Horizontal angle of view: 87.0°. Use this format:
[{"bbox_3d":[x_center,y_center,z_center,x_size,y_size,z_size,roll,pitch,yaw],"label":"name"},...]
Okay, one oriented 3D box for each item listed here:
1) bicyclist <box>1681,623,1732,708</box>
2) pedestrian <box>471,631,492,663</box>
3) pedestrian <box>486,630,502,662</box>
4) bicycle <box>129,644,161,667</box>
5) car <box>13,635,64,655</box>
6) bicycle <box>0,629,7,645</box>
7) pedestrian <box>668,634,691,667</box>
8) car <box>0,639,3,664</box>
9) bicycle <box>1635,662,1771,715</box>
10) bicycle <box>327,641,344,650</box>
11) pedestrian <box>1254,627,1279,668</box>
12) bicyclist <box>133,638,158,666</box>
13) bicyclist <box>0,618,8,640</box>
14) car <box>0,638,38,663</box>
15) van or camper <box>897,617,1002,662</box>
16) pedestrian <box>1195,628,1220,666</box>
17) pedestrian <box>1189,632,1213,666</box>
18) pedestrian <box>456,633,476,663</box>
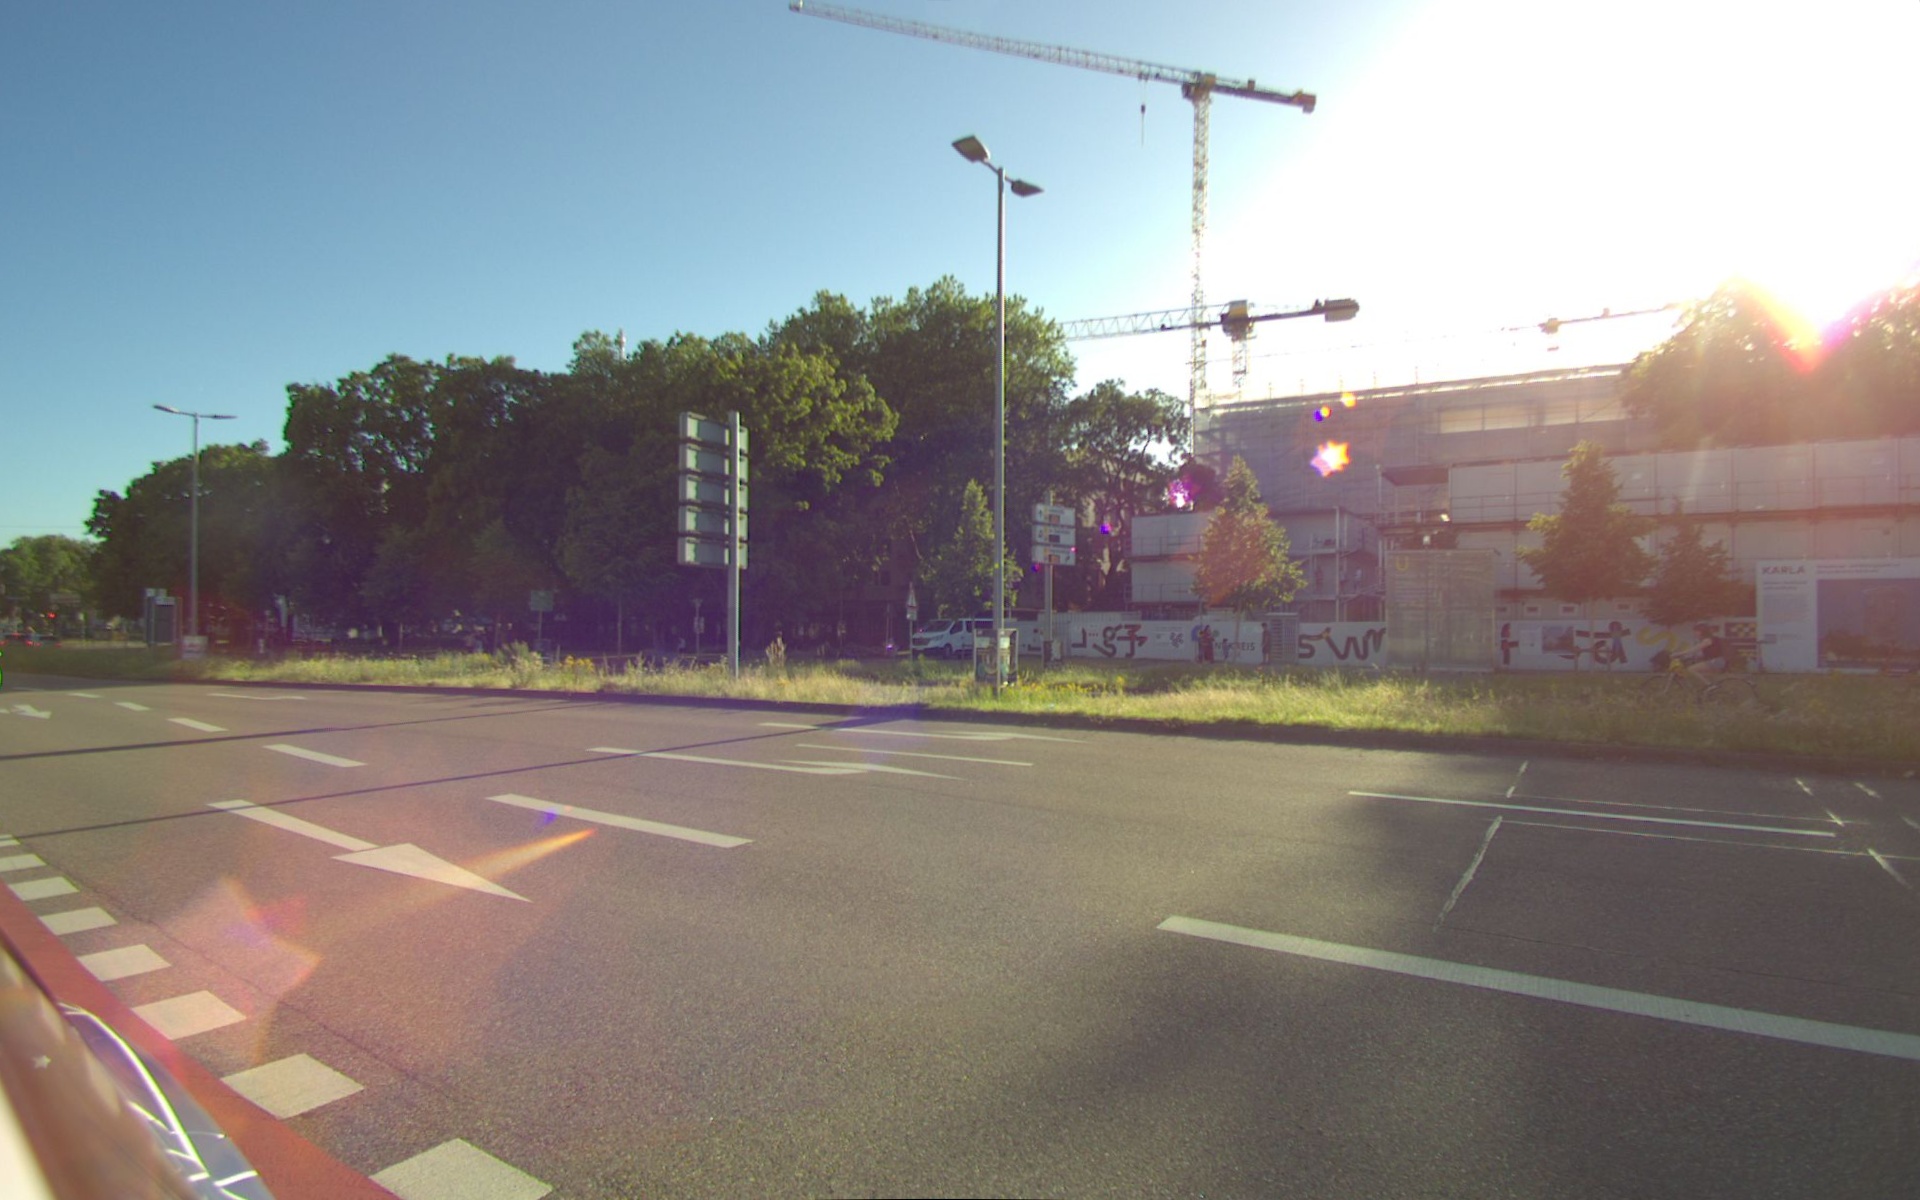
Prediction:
[{"bbox_3d":[13.542,1.180,18.353,0.680,1.500,0.601,-2,-3,39],"label":"bicyclist"},{"bbox_3d":[-26.576,2.589,56.190,0.759,1.754,0.764,-2,-3,37],"label":"pedestrian"},{"bbox_3d":[-26.087,2.564,56.673,0.654,1.754,0.519,-2,-3,37],"label":"pedestrian"},{"bbox_3d":[-48.226,3.288,59.860,2.251,1.285,0.752,1,-2,33],"label":"bicycle"},{"bbox_3d":[-70.917,3.463,77.871,4.576,1.538,1.917,-1,-3,35],"label":"car"},{"bbox_3d":[-74.063,2.840,78.021,0.766,1.249,2.252,3,-3,-42],"label":"bicycle"},{"bbox_3d":[-13.179,2.354,47.470,0.941,1.539,0.606,-2,-3,39],"label":"pedestrian"},{"bbox_3d":[-68.580,3.573,70.344,4.537,1.688,1.977,-1,-3,34],"label":"car"},{"bbox_3d":[13.471,1.586,18.397,1.949,0.868,0.606,-2,-3,39],"label":"bicycle"},{"bbox_3d":[-68.333,4.968,110.752,1.597,0.896,0.764,-1,-2,25],"label":"bicycle"},{"bbox_3d":[12.940,2.014,42.725,0.833,1.701,0.575,-2,-3,32],"label":"pedestrian"},{"bbox_3d":[-48.193,3.048,59.851,1.198,1.602,0.741,1,-2,32],"label":"bicyclist"},{"bbox_3d":[-74.076,2.221,78.071,0.771,1.692,0.840,3,-4,-41],"label":"bicyclist"},{"bbox_3d":[-62.630,3.287,66.604,4.049,1.576,1.977,-1,-3,34],"label":"car"},{"bbox_3d":[-0.413,1.921,49.297,2.252,2.029,5.614,1,-2,35],"label":"van or camper"},{"bbox_3d":[10.340,1.979,42.252,0.833,1.570,0.575,-2,-3,32],"label":"pedestrian"},{"bbox_3d":[9.910,2.012,41.617,0.833,1.388,0.575,-2,-3,32],"label":"pedestrian"},{"bbox_3d":[-27.060,2.619,55.410,0.725,1.653,0.735,-2,-3,37],"label":"pedestrian"}]
